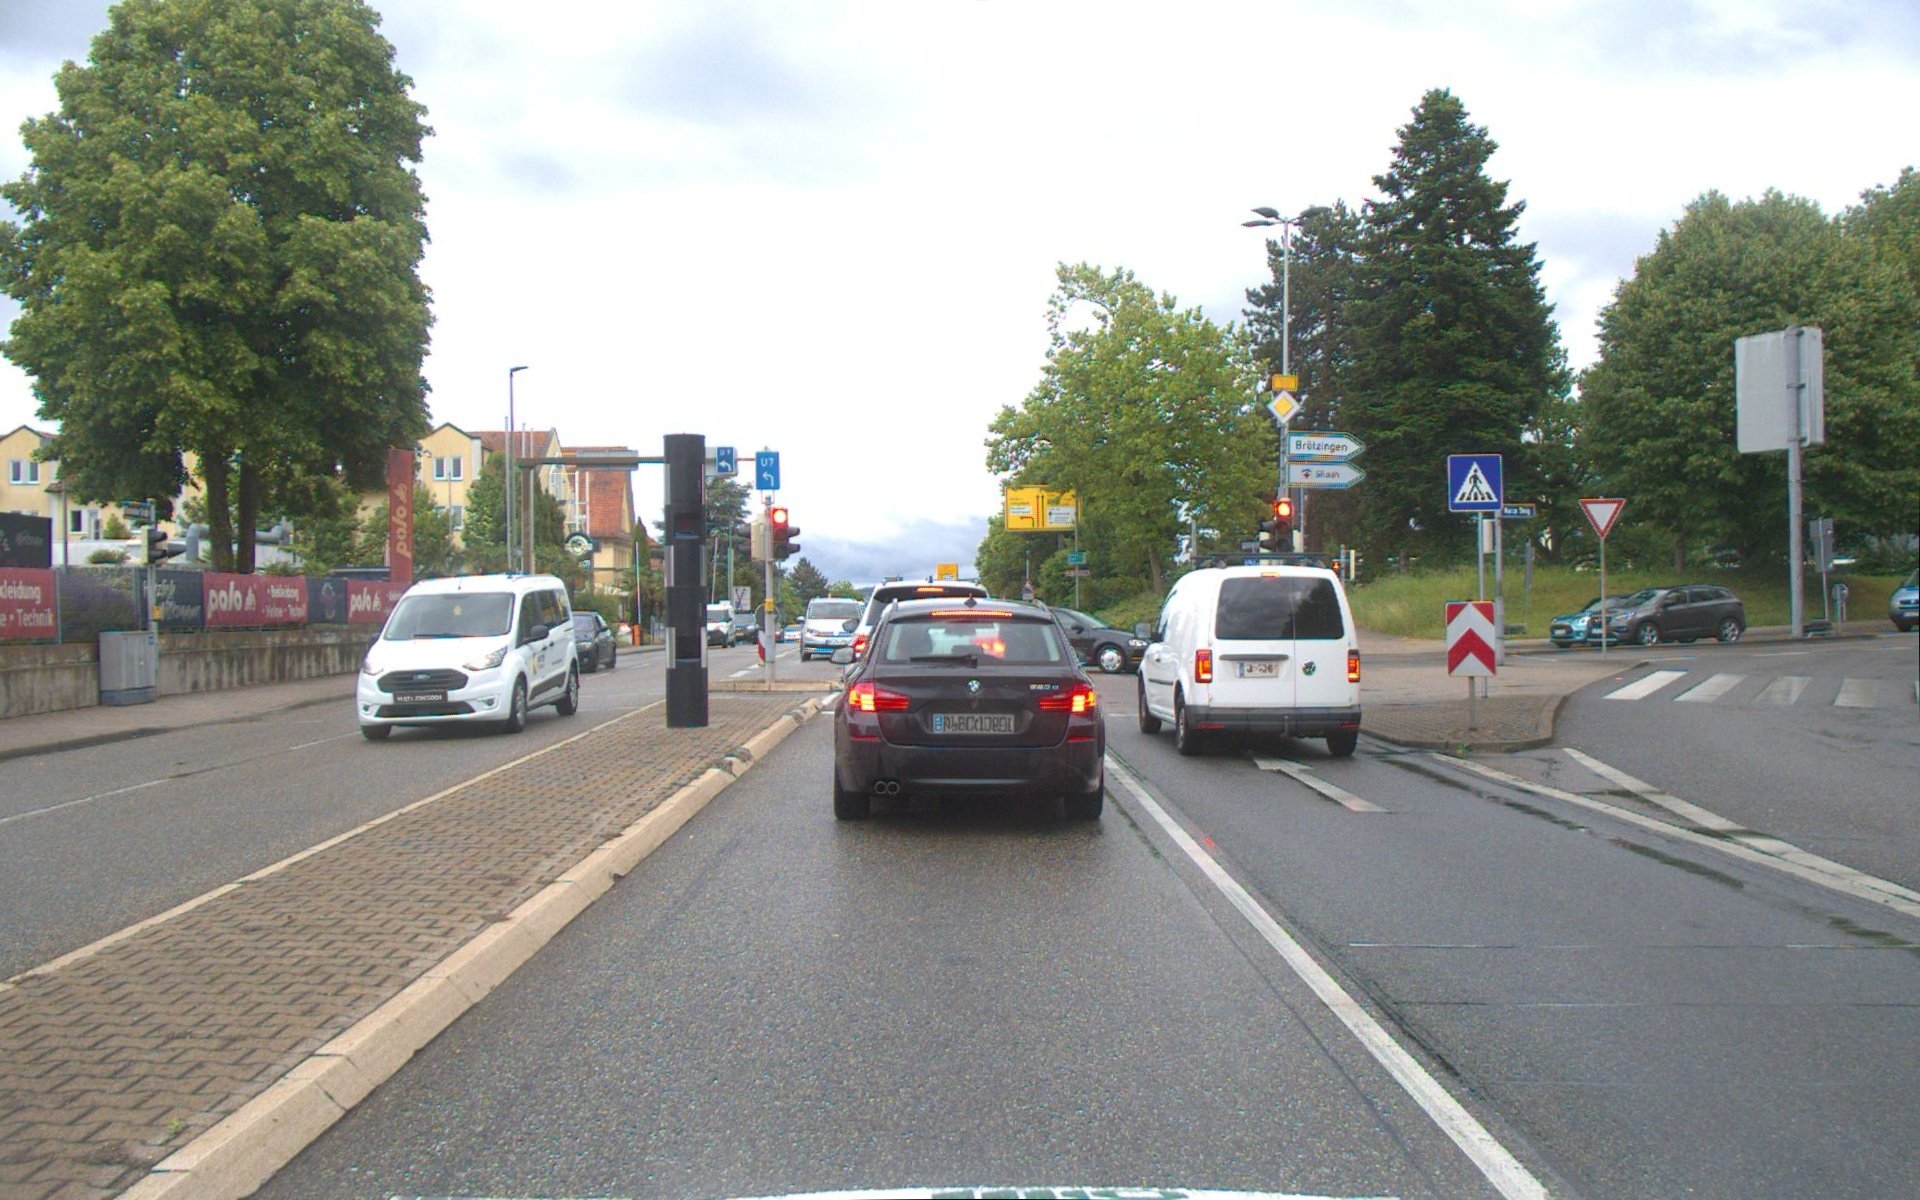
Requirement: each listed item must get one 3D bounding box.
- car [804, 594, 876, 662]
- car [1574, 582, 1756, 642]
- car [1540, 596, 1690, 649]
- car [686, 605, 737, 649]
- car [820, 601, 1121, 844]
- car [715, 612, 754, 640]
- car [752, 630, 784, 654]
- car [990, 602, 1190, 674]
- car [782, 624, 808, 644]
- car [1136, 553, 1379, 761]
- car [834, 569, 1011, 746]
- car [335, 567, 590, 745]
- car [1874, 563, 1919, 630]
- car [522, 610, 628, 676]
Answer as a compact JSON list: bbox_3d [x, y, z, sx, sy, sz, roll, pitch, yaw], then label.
[{"bbox_3d":[-3.203,0.730,44.810,1.699,1.721,3.999,-1,0,-1],"label":"car"},{"bbox_3d":[18.917,0.302,44.408,4.245,1.492,1.893,-1,0,-15],"label":"car"},{"bbox_3d":[18.874,0.626,47.699,3.927,1.316,1.600,-2,1,-19],"label":"car"},{"bbox_3d":[-10.456,1.113,69.670,1.634,1.699,3.682,-1,0,-1],"label":"car"},{"bbox_3d":[0.127,0.742,12.015,1.816,1.444,3.958,1,0,2],"label":"car"},{"bbox_3d":[-11.773,1.352,86.515,1.634,1.377,3.441,-1,0,-1],"label":"car"},{"bbox_3d":[-12.179,2.668,104.968,1.634,1.377,3.441,-1,0,-1],"label":"car"},{"bbox_3d":[2.853,0.807,36.122,3.999,1.481,1.901,0,0,20],"label":"car"},{"bbox_3d":[-12.179,2.503,122.444,1.634,1.377,3.441,-1,0,-1],"label":"car"},{"bbox_3d":[2.951,0.532,17.187,1.706,1.902,3.944,0,0,-2],"label":"car"},{"bbox_3d":[-0.327,0.563,18.116,1.692,1.741,3.383,0,0,3],"label":"car"},{"bbox_3d":[-5.929,0.614,20.297,1.820,1.855,4.577,-3,0,-2],"label":"car"},{"bbox_3d":[29.214,-0.142,48.630,4.672,1.883,1.884,-1,2,-28],"label":"car"},{"bbox_3d":[-9.171,0.994,39.633,1.634,1.406,4.071,-1,0,-1],"label":"car"}]
